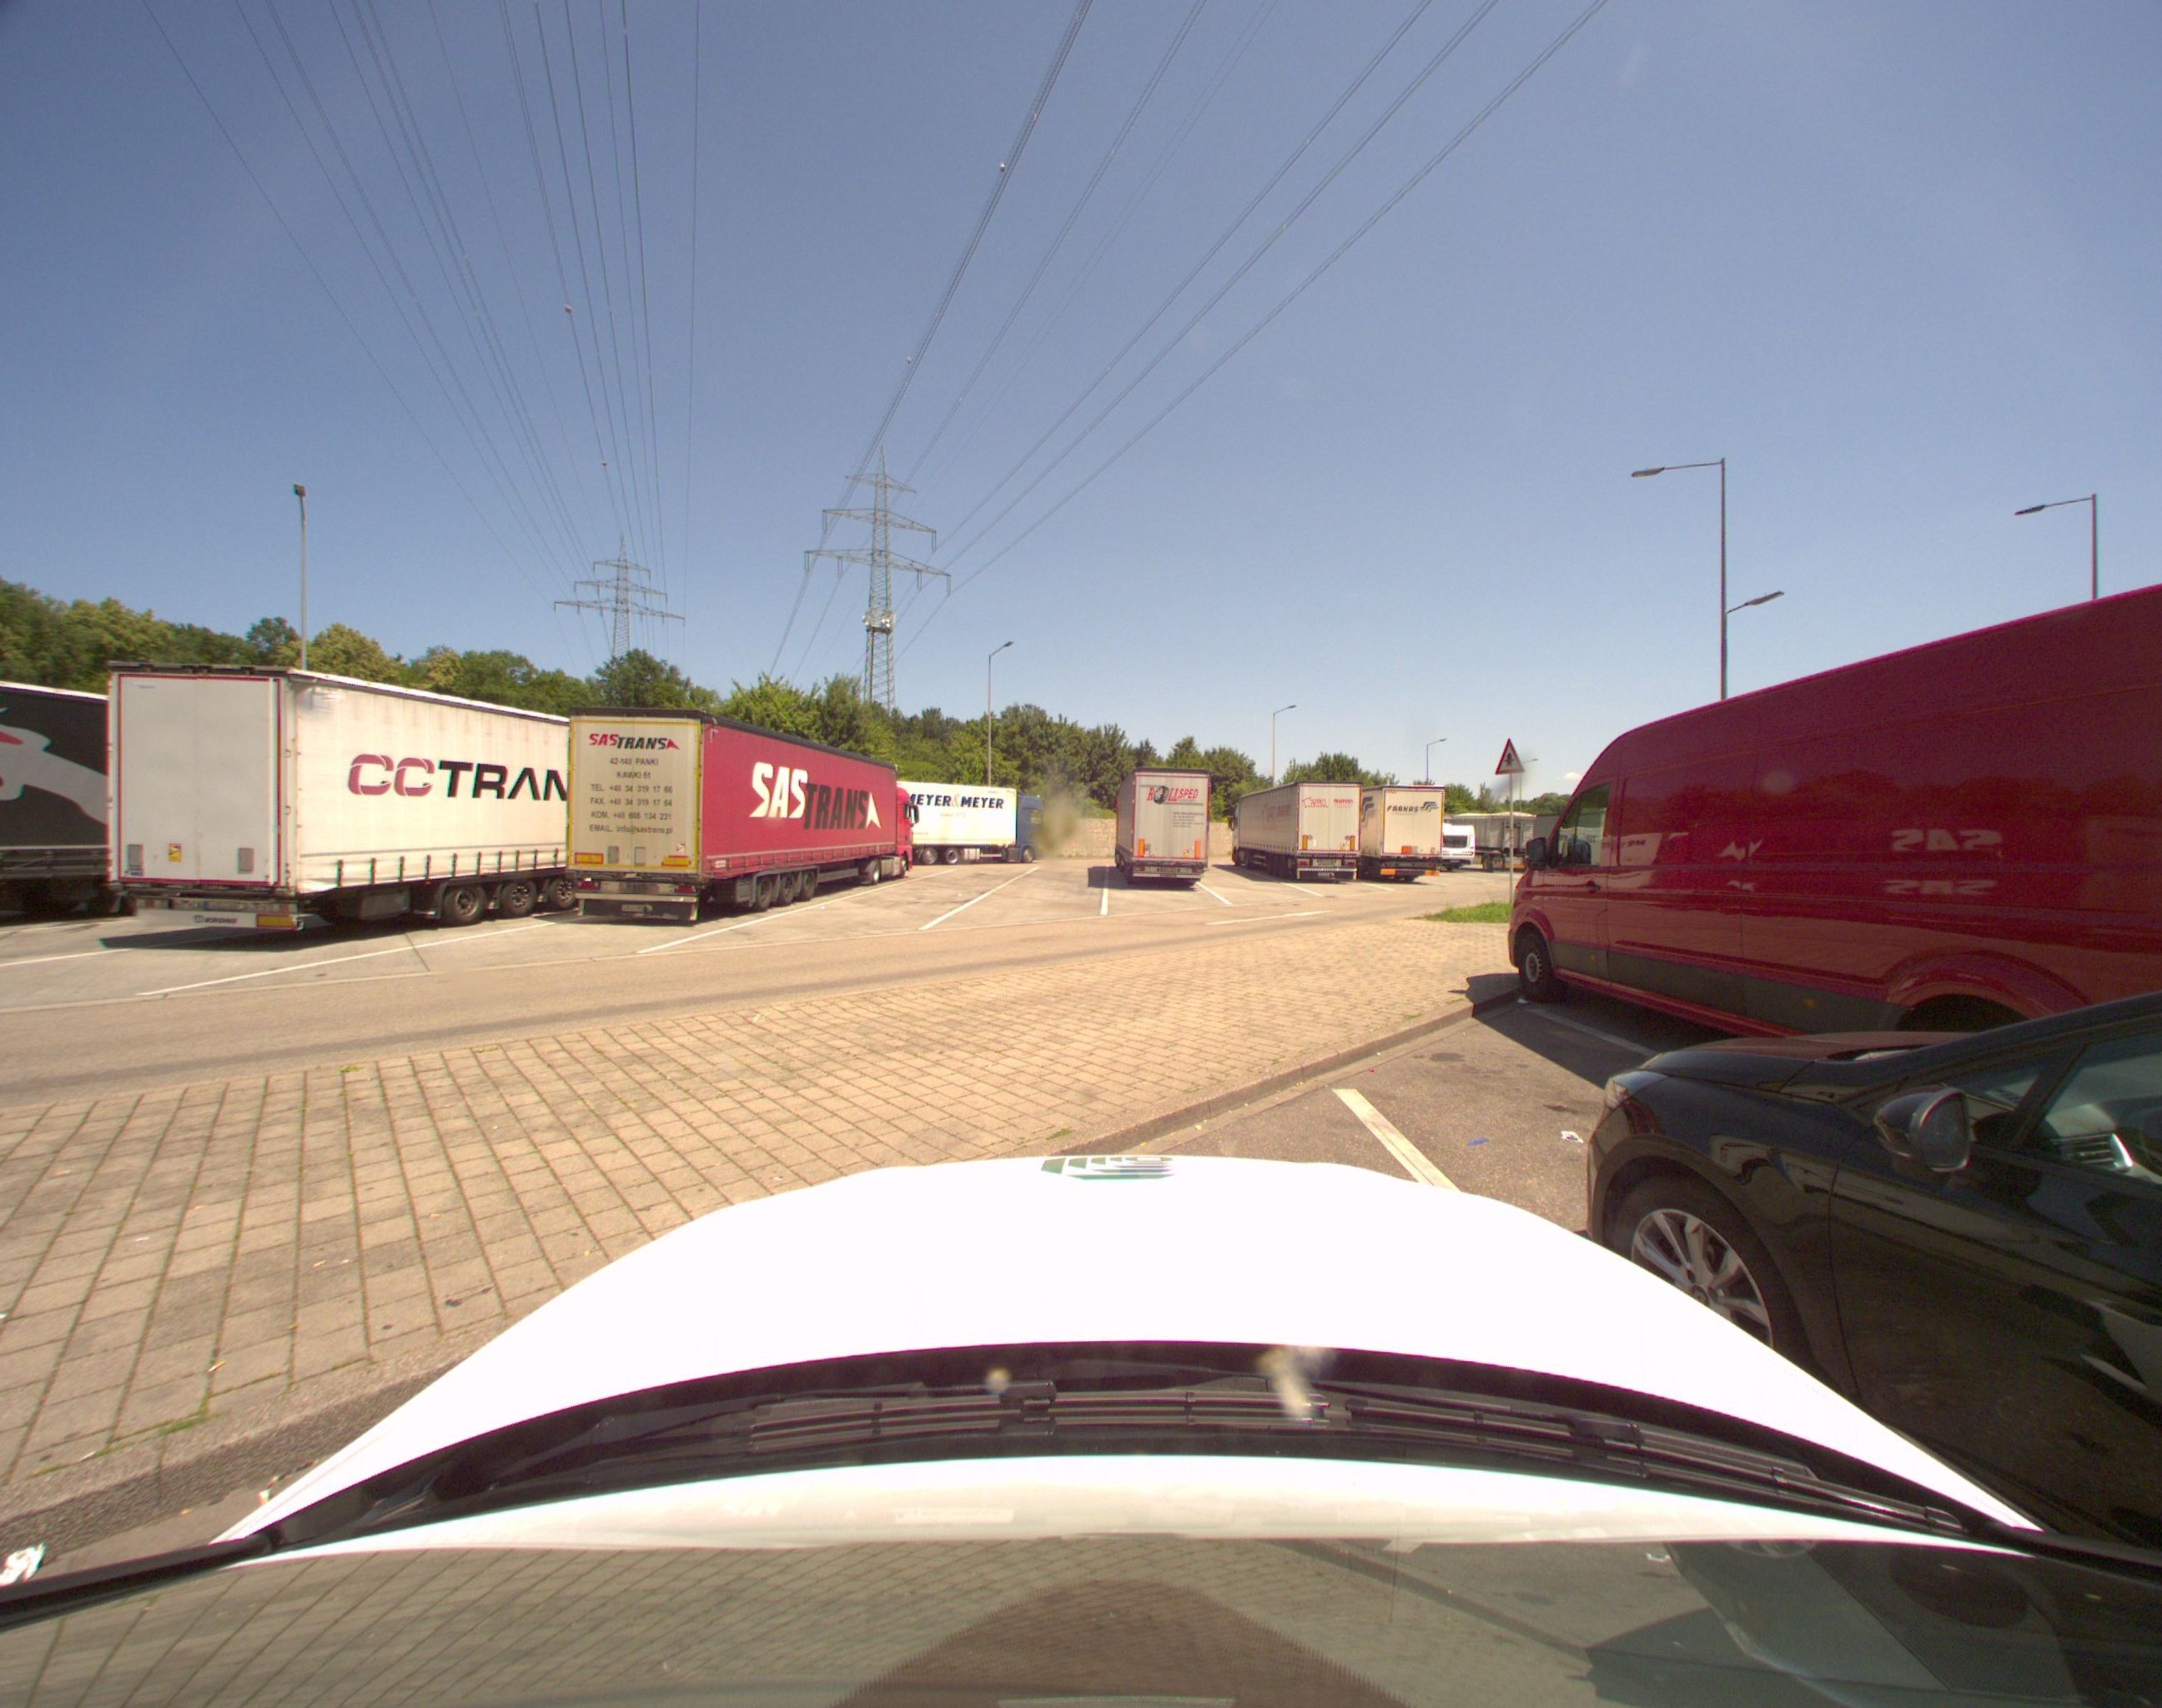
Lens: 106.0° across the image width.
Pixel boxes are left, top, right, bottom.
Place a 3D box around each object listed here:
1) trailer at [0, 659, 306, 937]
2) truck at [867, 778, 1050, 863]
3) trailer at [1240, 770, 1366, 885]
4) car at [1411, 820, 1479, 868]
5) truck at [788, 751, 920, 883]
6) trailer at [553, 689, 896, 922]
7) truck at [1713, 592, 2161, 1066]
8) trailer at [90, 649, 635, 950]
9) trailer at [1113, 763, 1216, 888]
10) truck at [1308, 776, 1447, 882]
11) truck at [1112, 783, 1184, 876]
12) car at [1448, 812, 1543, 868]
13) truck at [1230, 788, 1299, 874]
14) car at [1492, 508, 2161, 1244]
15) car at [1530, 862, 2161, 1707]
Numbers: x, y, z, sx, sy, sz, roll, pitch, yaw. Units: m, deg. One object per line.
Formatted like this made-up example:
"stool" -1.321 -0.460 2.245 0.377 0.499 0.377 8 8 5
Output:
"trailer" -18.566 -0.918 14.916 2.668 4.444 6.151 -1 1 2
"truck" -6.147 -1.576 42.847 10.112 4.033 2.214 0 0 -44
"trailer" 9.896 -1.111 38.166 2.672 4.452 12.833 -1 1 1
"car" 20.531 -0.512 46.132 2.107 2.599 4.001 0 -1 2
"truck" -7.760 -1.213 28.716 2.795 4.133 5.896 -1 1 2
"trailer" -8.010 -0.975 21.460 2.789 4.219 13.208 -1 1 2
"truck" 7.787 -0.147 6.112 2.508 2.827 4.821 0 -1 3
"trailer" -12.214 -0.813 15.417 2.744 4.152 8.291 0 1 2
"trailer" 2.954 -1.001 32.121 2.888 4.013 11.316 -1 1 0
"truck" 13.525 -0.936 38.569 2.577 4.226 11.974 0 -1 2
"truck" 2.985 -1.084 37.846 2.862 3.980 6.029 0 1 0
"car" 24.129 -0.815 47.753 2.490 3.074 6.353 -1 1 2
"truck" 10.072 -1.231 45.258 2.651 4.452 5.866 -1 1 2
"car" 5.115 0.034 5.505 1.984 2.633 6.393 -1 1 5
"car" 2.543 0.748 1.066 1.772 1.457 3.682 0 -1 -3
